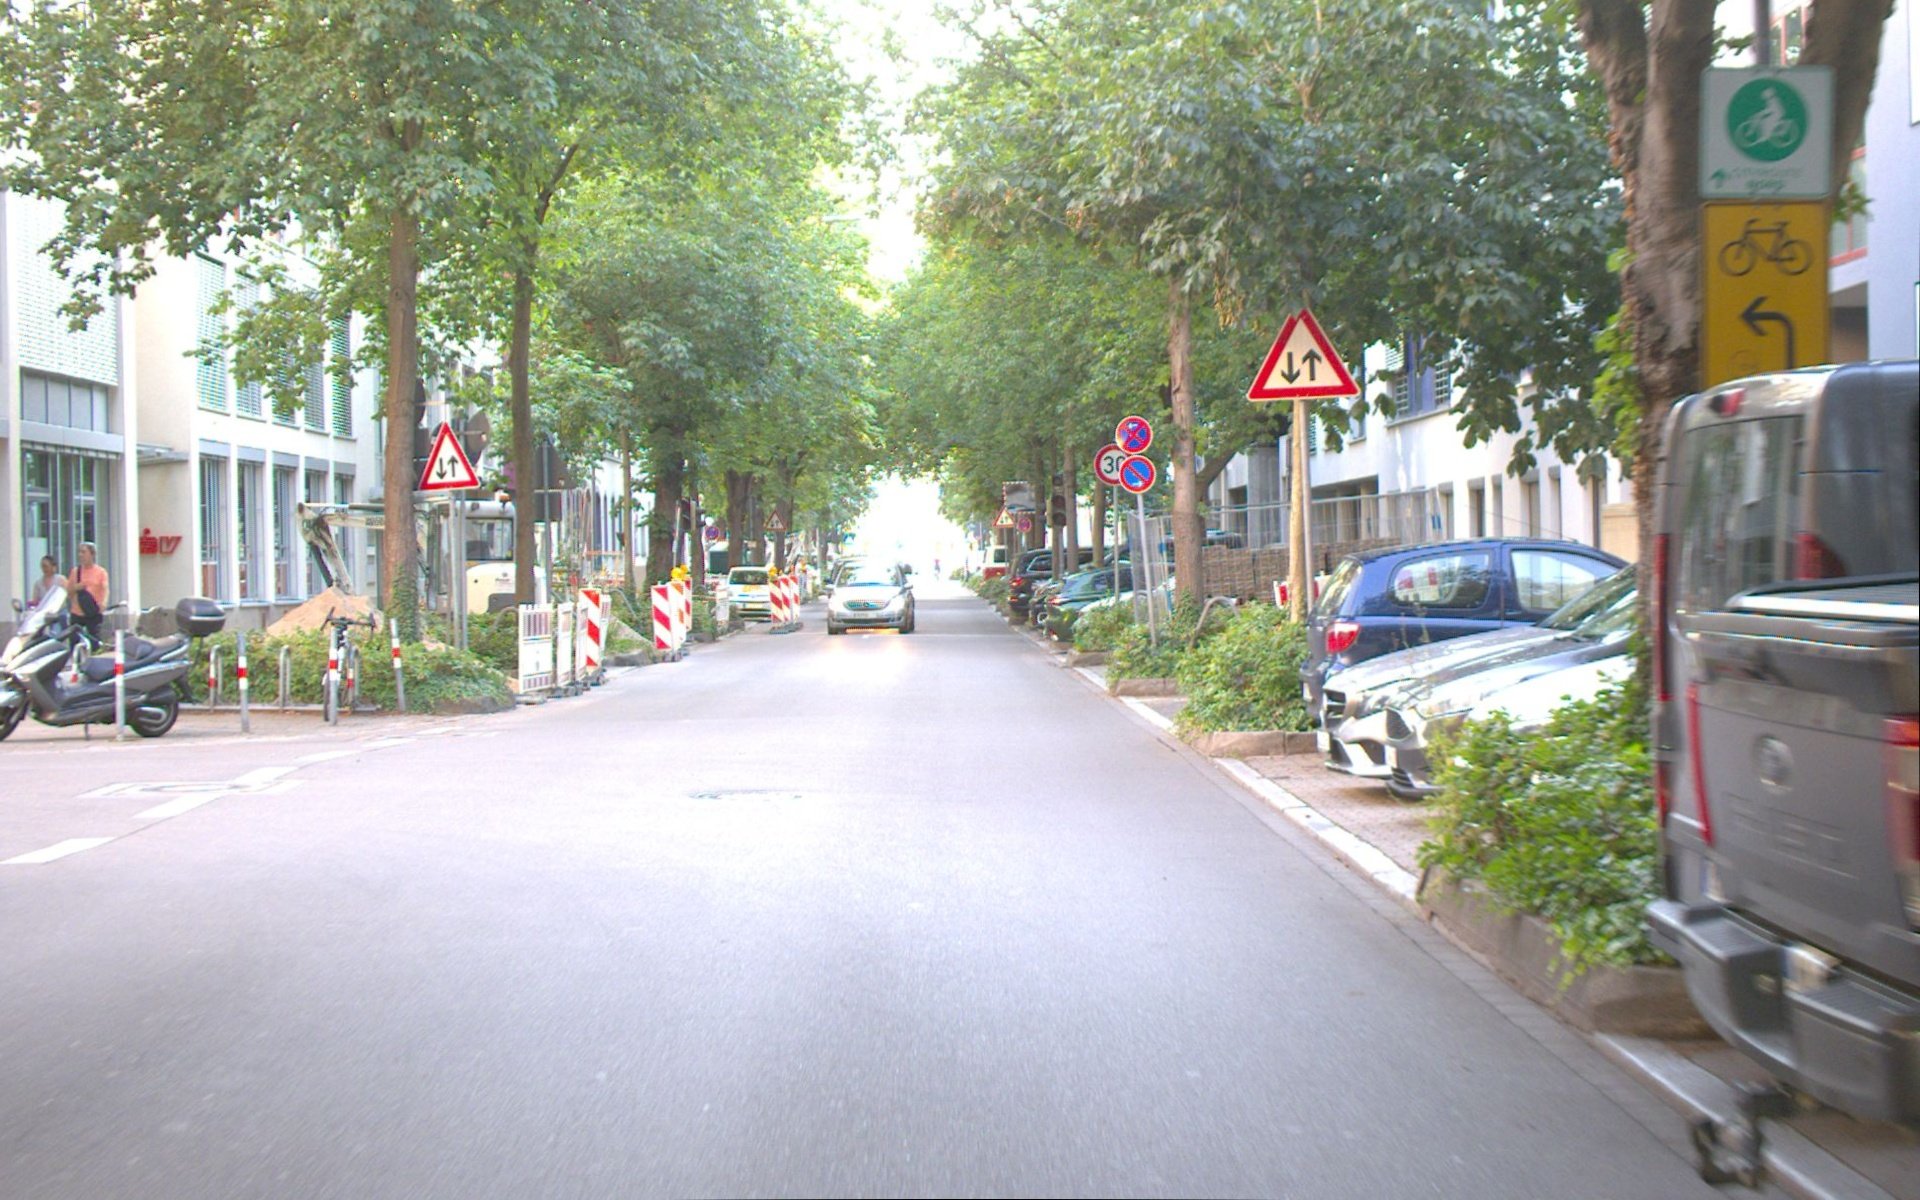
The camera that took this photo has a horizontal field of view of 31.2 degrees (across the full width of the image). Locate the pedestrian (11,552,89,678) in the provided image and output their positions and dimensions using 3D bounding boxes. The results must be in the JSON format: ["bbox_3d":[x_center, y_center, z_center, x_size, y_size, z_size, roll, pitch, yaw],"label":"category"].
[{"bbox_3d":[-11.229,0.185,42.454,0.769,1.530,0.643,-1,0,0],"label":"pedestrian"}]

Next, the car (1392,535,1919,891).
[{"bbox_3d":[4.493,0.443,16.058,4.621,1.497,1.961,-2,1,-2],"label":"car"}]

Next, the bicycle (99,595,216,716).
[{"bbox_3d":[-8.091,0.544,34.738,0.683,1.149,1.981,-1,1,1],"label":"bicycle"}]

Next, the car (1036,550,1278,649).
[{"bbox_3d":[3.285,-0.014,58.046,3.987,1.579,2.000,-1,0,2],"label":"car"}]

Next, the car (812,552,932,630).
[{"bbox_3d":[-1.915,-0.223,76.207,2.010,1.607,4.118,-1,1,7],"label":"car"}]

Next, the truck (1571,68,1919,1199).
[{"bbox_3d":[4.330,0.245,6.633,5.888,2.303,2.212,-1,1,0],"label":"truck"}]

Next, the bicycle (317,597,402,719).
[{"bbox_3d":[-6.056,0.569,34.762,0.683,1.149,1.981,-1,1,-6],"label":"bicycle"}]

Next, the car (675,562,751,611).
[{"bbox_3d":[-6.772,-0.390,94.025,1.993,1.284,4.001,-1,1,-5],"label":"car"}]

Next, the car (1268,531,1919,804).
[{"bbox_3d":[4.303,0.377,21.054,4.621,1.566,2.011,0,1,-1],"label":"car"}]

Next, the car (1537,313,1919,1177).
[{"bbox_3d":[4.093,0.287,9.376,4.600,2.059,2.198,-1,1,-1],"label":"car"}]

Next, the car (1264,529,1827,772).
[{"bbox_3d":[3.967,0.327,23.714,3.539,1.558,1.832,-1,0,0],"label":"car"}]

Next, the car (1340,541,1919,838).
[{"bbox_3d":[4.551,0.444,18.660,4.782,1.515,1.991,0,1,1],"label":"car"}]

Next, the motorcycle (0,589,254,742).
[{"bbox_3d":[-7.711,0.564,31.082,2.350,1.277,1.067,-2,1,-40],"label":"motorcycle"}]

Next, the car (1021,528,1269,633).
[{"bbox_3d":[3.605,-0.398,67.619,4.738,2.007,2.000,0,1,-1],"label":"car"}]

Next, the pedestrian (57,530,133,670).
[{"bbox_3d":[-10.582,-0.003,42.069,0.739,1.684,0.607,-1,0,1],"label":"pedestrian"}]

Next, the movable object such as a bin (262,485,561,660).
[{"bbox_3d":[-7.790,-0.413,49.283,4.045,2.375,2.785,-1,1,-6],"label":"movable object such as a bin"}]

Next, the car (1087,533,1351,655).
[{"bbox_3d":[4.009,-0.097,53.468,3.987,1.798,2.000,-1,0,4],"label":"car"}]
